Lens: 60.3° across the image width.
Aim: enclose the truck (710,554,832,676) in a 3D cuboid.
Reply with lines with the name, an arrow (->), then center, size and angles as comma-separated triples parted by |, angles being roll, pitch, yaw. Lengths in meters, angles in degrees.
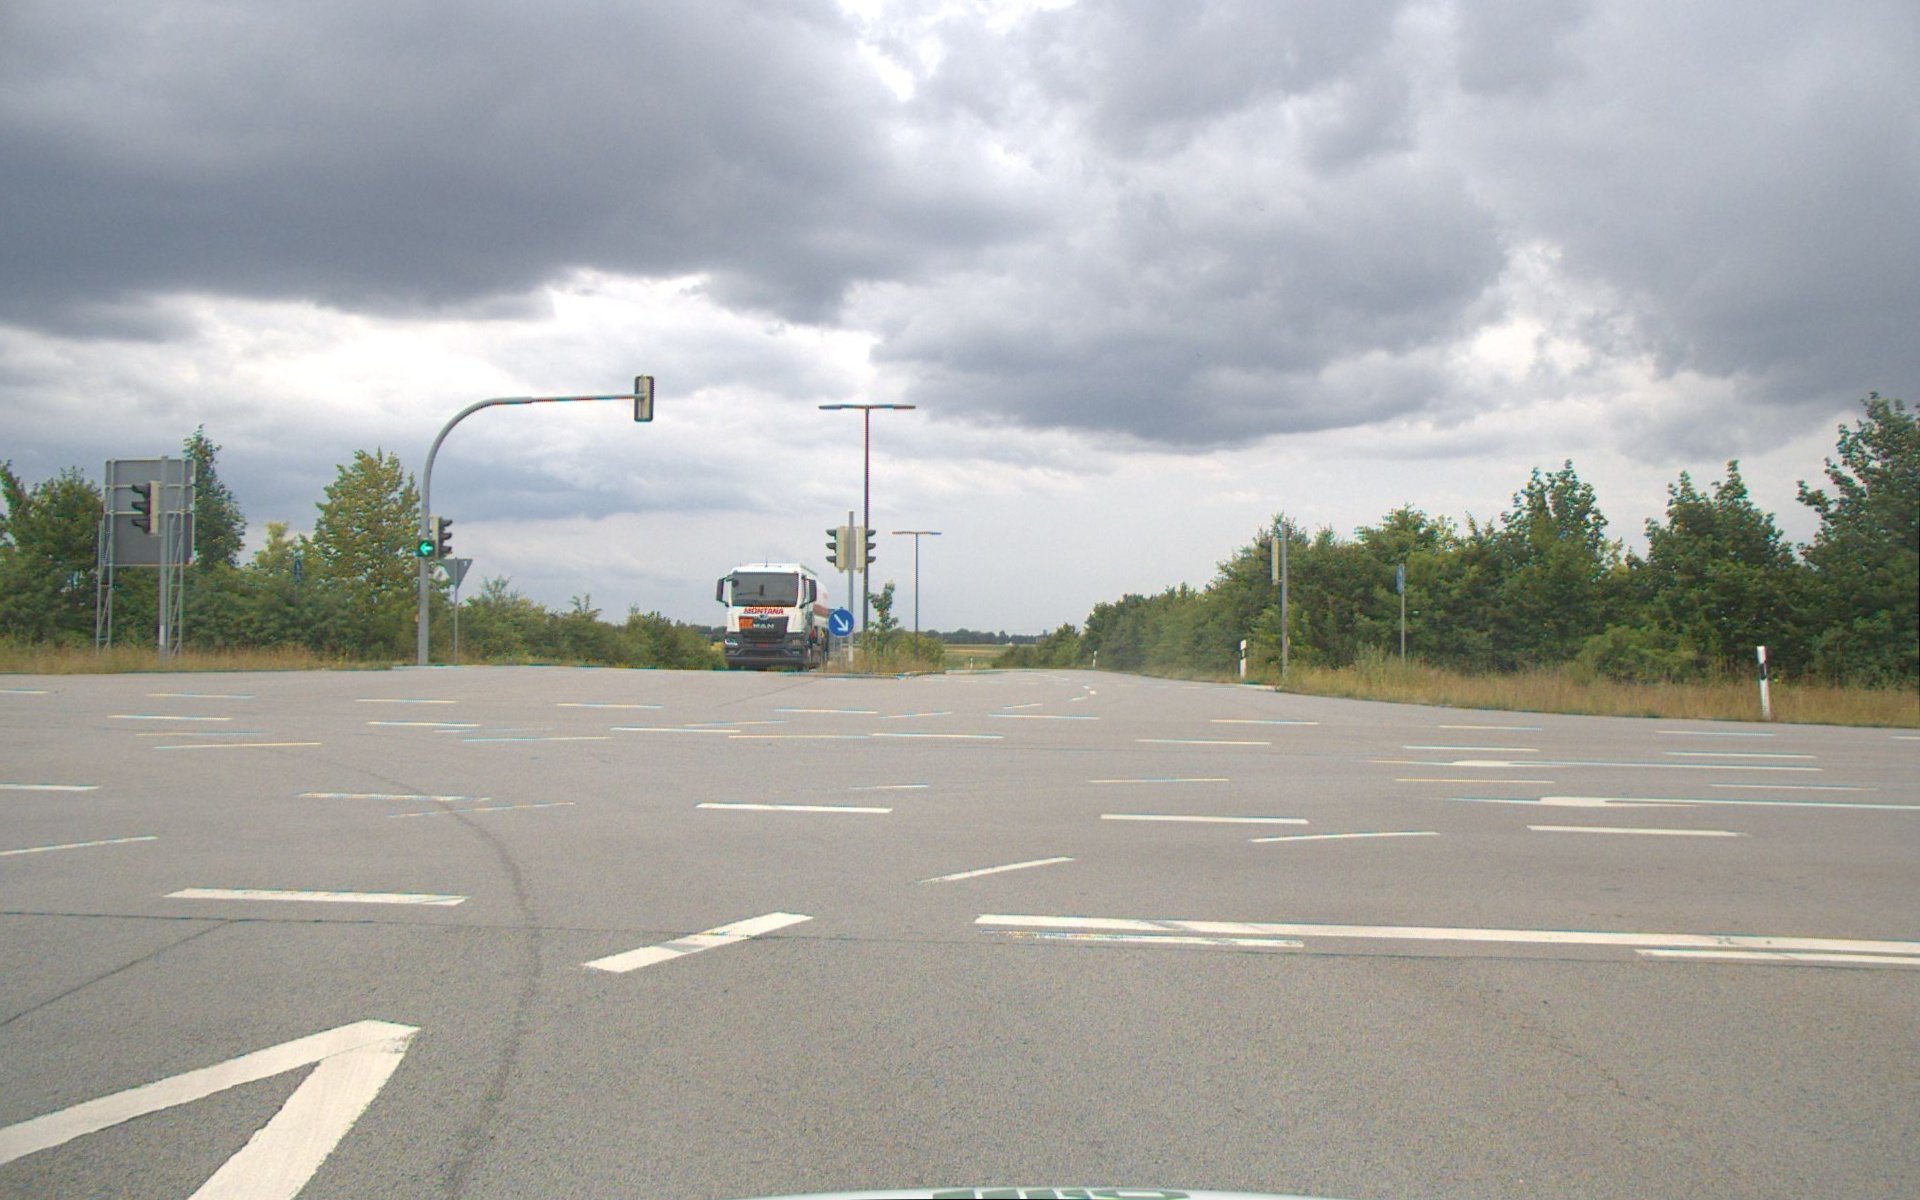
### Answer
truck -> -5.714, 0.579, 51.406 | 2.811, 3.468, 8.648 | 0, -2, 0
